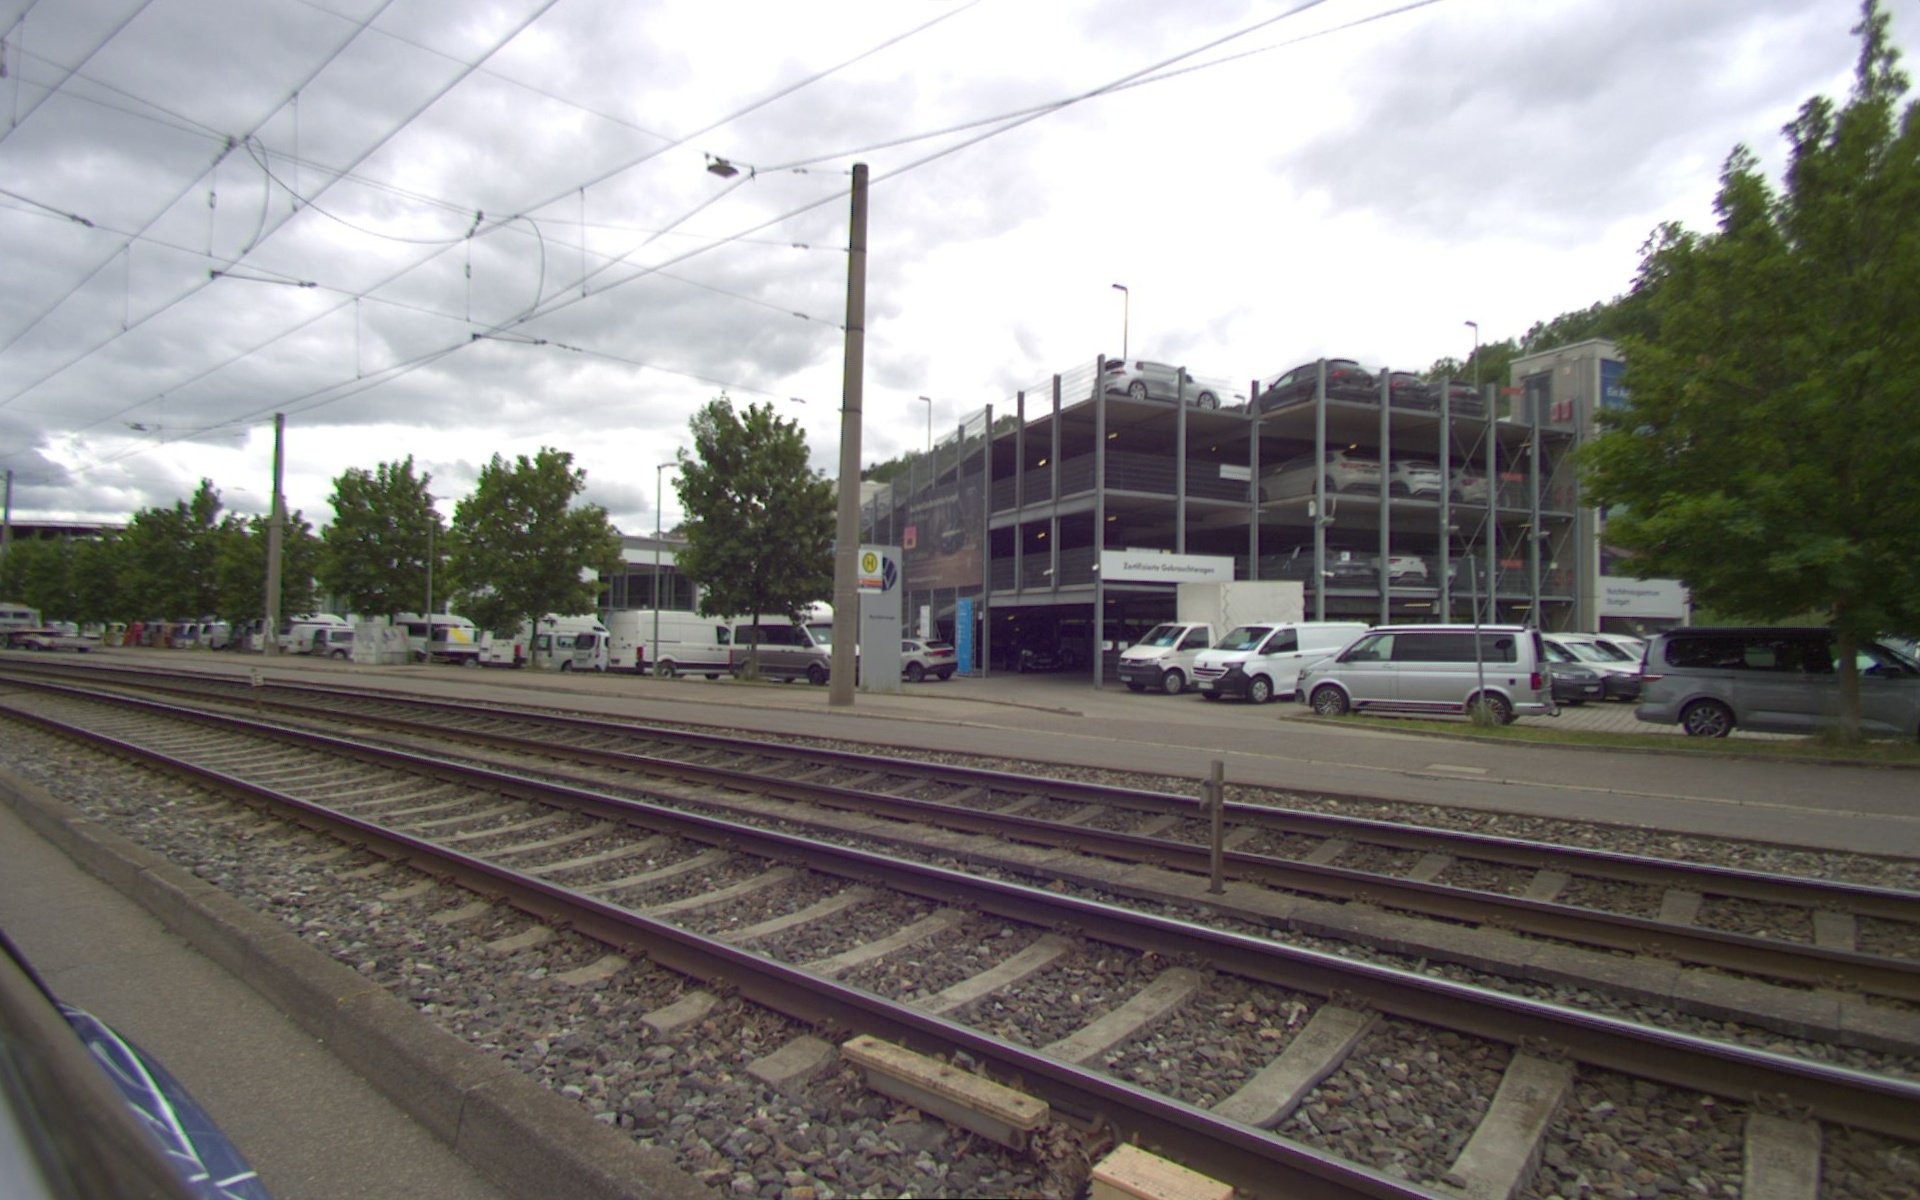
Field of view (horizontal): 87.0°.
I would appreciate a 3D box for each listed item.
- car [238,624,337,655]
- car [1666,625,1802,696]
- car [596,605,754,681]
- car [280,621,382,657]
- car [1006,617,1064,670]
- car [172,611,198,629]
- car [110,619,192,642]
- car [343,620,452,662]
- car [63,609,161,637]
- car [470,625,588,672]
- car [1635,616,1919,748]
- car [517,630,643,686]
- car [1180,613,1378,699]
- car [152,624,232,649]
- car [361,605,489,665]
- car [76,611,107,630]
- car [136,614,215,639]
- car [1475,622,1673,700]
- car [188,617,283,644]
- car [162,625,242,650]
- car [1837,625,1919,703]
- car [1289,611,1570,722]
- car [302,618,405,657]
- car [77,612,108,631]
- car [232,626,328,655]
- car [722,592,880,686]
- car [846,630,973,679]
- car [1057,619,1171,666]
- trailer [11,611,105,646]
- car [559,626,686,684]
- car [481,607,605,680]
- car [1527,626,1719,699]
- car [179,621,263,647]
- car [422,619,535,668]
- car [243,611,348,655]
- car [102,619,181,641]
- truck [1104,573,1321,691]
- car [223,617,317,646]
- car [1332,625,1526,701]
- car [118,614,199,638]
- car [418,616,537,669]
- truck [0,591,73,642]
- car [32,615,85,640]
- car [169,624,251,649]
[{"bbox_3d":[-38.838,2.290,58.559,2.026,1.701,4.328,-1,-2,34],"label":"car"},{"bbox_3d":[23.734,1.810,31.240,1.984,2.029,4.251,-2,-2,19],"label":"car"},{"bbox_3d":[-10.558,1.604,37.931,2.243,2.622,5.420,-1,-3,38],"label":"car"},{"bbox_3d":[-34.494,2.127,55.563,2.002,1.859,4.323,-1,-3,39],"label":"car"},{"bbox_3d":[2.880,1.696,39.699,1.972,1.918,3.999,1,-2,0],"label":"car"},{"bbox_3d":[-87.971,2.286,114.887,1.966,2.029,4.011,2,-2,-32],"label":"car"},{"bbox_3d":[-59.196,2.239,74.096,2.118,1.630,4.302,-1,-3,39],"label":"car"},{"bbox_3d":[-28.209,2.053,50.876,1.999,2.026,4.329,-1,-2,34],"label":"car"},{"bbox_3d":[-66.016,1.807,78.939,5.619,2.023,2.149,2,-3,-34],"label":"car"},{"bbox_3d":[-18.686,2.087,44.033,1.999,1.925,4.329,-1,-2,34],"label":"car"},{"bbox_3d":[14.517,1.313,17.069,5.120,2.029,1.975,-1,-3,37],"label":"car"},{"bbox_3d":[-15.152,2.268,40.560,1.999,2.121,4.329,-1,-2,34],"label":"car"},{"bbox_3d":[8.094,1.408,25.661,4.648,2.029,2.006,2,-2,-25],"label":"car"},{"bbox_3d":[-52.357,2.487,69.059,1.998,1.630,3.947,-1,-3,39],"label":"car"},{"bbox_3d":[-25.433,1.667,48.281,2.110,2.719,4.924,-1,-2,34],"label":"car"},{"bbox_3d":[-95.231,2.279,110.997,1.966,2.029,4.011,2,-2,-32],"label":"car"},{"bbox_3d":[-54.563,1.844,70.425,2.046,1.677,3.947,-1,-3,39],"label":"car"},{"bbox_3d":[17.401,1.684,28.950,1.965,2.028,4.482,2,-2,-25],"label":"car"},{"bbox_3d":[-44.713,1.887,62.529,2.001,1.630,4.325,-1,-3,37],"label":"car"},{"bbox_3d":[-50.720,2.523,67.766,1.998,1.630,3.947,-1,-3,39],"label":"car"},{"bbox_3d":[26.231,1.732,28.003,4.195,2.029,1.986,2,-3,-35],"label":"car"},{"bbox_3d":[9.491,1.277,20.668,4.910,2.029,1.975,-1,-3,36],"label":"car"},{"bbox_3d":[-32.526,2.012,54.353,2.002,1.962,4.323,-1,-3,39],"label":"car"},{"bbox_3d":[-94.675,2.335,110.475,1.966,2.029,4.011,2,-2,-32],"label":"car"},{"bbox_3d":[-40.386,2.402,60.210,2.002,1.630,4.323,-1,-3,39],"label":"car"},{"bbox_3d":[-5.651,1.334,35.523,5.932,3.042,2.086,-1,-3,40],"label":"car"},{"bbox_3d":[-1.803,1.894,35.860,4.124,1.630,1.977,-1,-3,34],"label":"car"},{"bbox_3d":[6.585,1.807,43.440,4.454,1.918,1.976,-1,-3,35],"label":"car"},{"bbox_3d":[-49.540,1.556,55.528,6.933,1.711,2.361,-1,-4,36],"label":"trailer"},{"bbox_3d":[-13.001,2.096,39.200,1.999,2.121,4.329,-1,-2,34],"label":"car"},{"bbox_3d":[-17.159,1.788,41.803,1.999,2.840,4.329,-1,-2,34],"label":"car"},{"bbox_3d":[19.774,1.829,30.457,1.965,2.028,4.482,2,-2,-22],"label":"car"},{"bbox_3d":[-46.854,2.157,64.207,1.998,1.630,3.947,-1,-3,39],"label":"car"},{"bbox_3d":[-22.492,2.036,47.422,1.999,2.189,4.329,-1,-2,34],"label":"car"},{"bbox_3d":[-36.913,1.825,56.306,2.123,2.329,4.452,-1,-3,39],"label":"car"},{"bbox_3d":[-61.415,2.264,75.978,2.152,1.630,4.293,-1,-3,39],"label":"car"},{"bbox_3d":[7.153,0.944,28.635,5.835,3.108,2.126,2,-2,-23],"label":"truck"},{"bbox_3d":[-42.136,1.942,61.873,2.002,1.699,4.323,-1,-3,39],"label":"car"},{"bbox_3d":[12.354,1.614,26.996,1.965,1.845,4.482,2,-2,-25],"label":"car"},{"bbox_3d":[-56.882,1.885,71.844,2.061,1.630,4.136,-1,-3,39],"label":"car"},{"bbox_3d":[-21.285,1.866,44.785,1.999,2.189,4.329,-1,-2,34],"label":"car"},{"bbox_3d":[-56.065,1.036,60.275,9.198,2.763,2.732,-1,-4,36],"label":"truck"},{"bbox_3d":[-73.613,2.253,82.615,4.846,2.029,1.978,0,-2,33],"label":"car"},{"bbox_3d":[-48.959,2.379,66.103,1.998,1.630,3.947,-1,-3,39],"label":"car"}]
